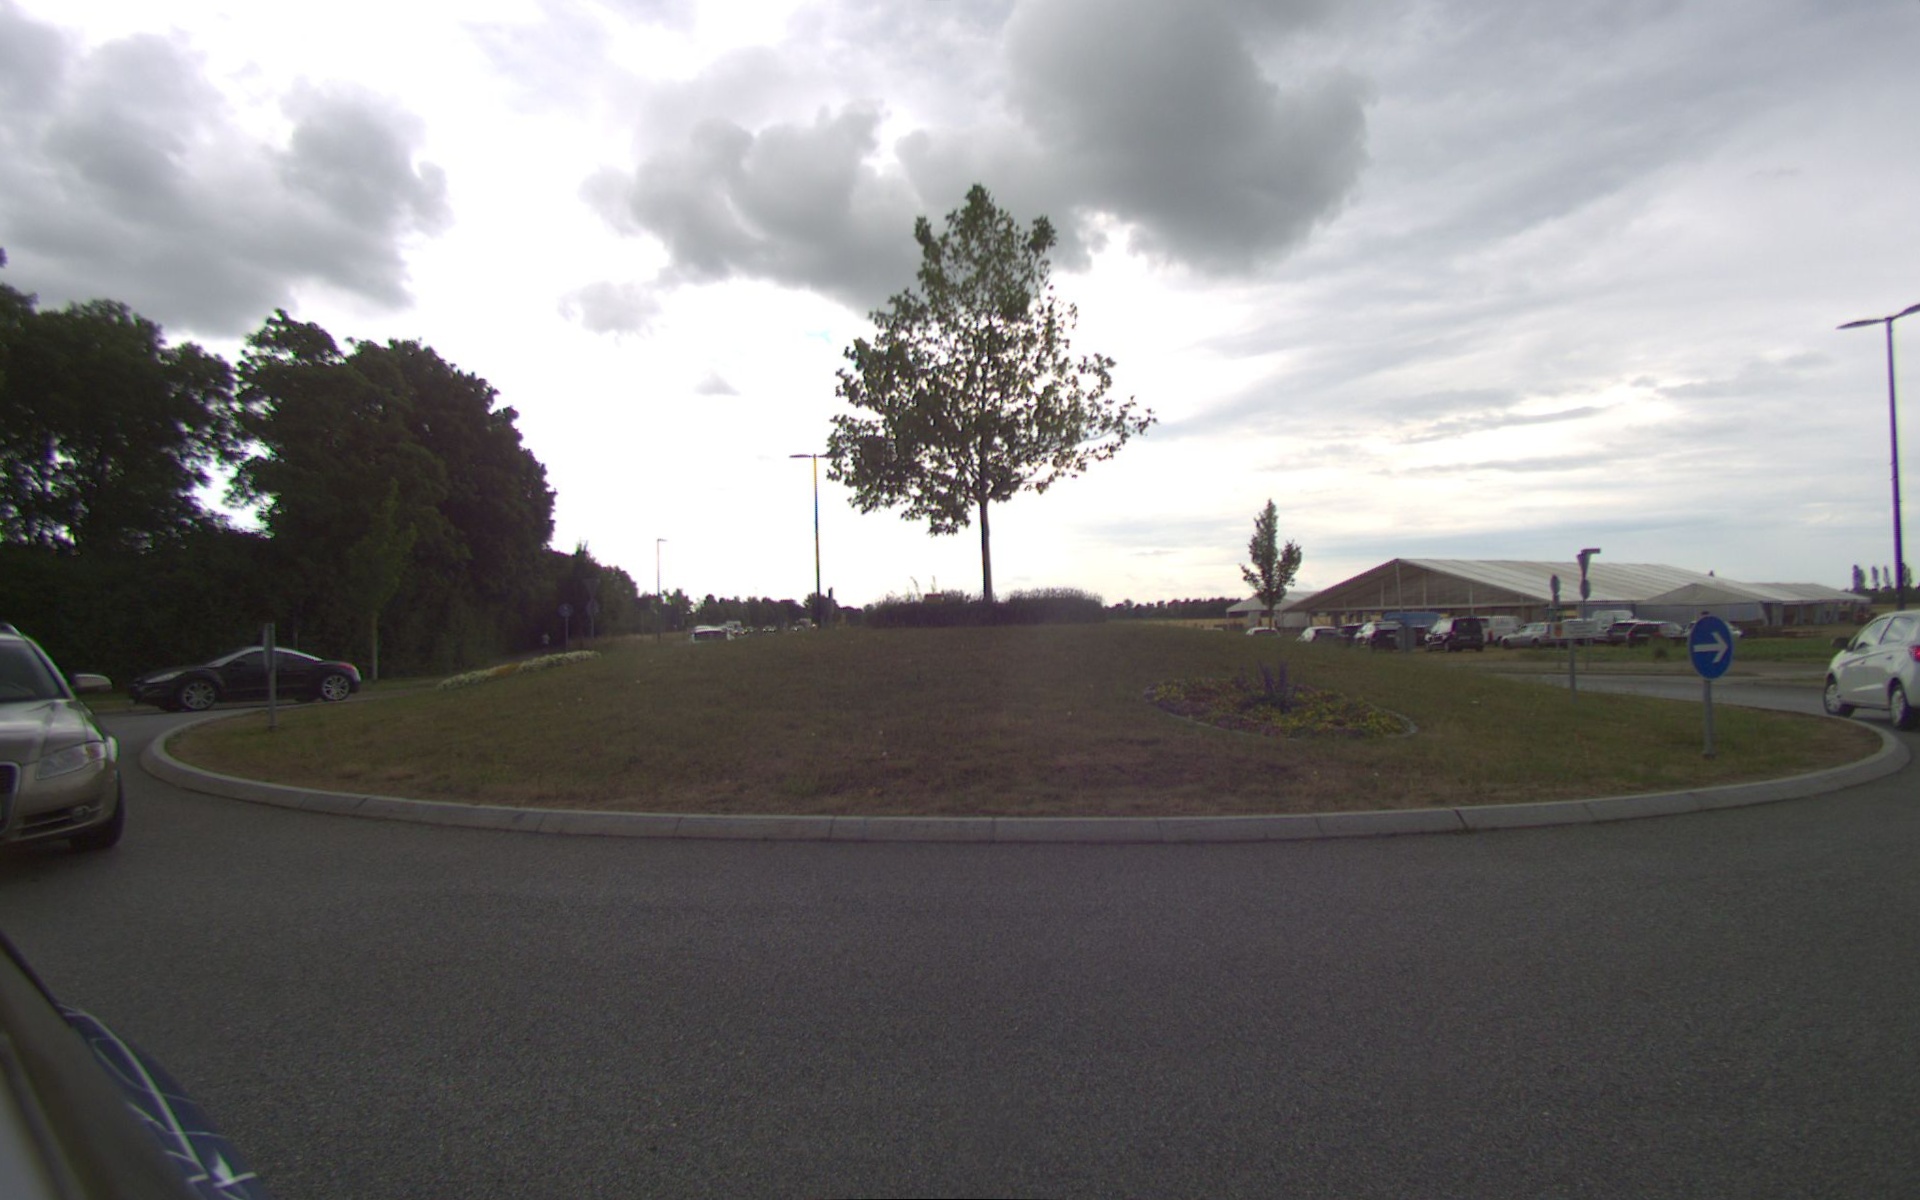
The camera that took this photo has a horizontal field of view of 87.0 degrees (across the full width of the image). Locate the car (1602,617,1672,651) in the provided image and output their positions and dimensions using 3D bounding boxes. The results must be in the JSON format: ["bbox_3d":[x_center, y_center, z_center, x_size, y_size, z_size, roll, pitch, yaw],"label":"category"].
[{"bbox_3d":[34.400,1.710,51.515,1.620,1.619,3.860,-2,-2,13],"label":"car"}]

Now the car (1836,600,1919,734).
[{"bbox_3d":[12.475,0.767,12.654,1.626,1.530,3.366,-1,0,29],"label":"car"}]

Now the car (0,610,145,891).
[{"bbox_3d":[-7.005,0.884,6.665,4.538,1.476,1.759,-2,-1,41],"label":"car"}]

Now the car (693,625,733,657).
[{"bbox_3d":[-12.530,2.048,51.496,1.753,1.510,3.819,-2,-1,-11],"label":"car"}]

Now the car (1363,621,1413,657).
[{"bbox_3d":[21.669,1.953,51.342,1.701,1.565,3.980,-4,0,16],"label":"car"}]

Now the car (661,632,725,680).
[{"bbox_3d":[-9.436,1.935,36.042,1.811,1.469,4.144,-1,-1,-9],"label":"car"}]

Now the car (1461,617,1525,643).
[{"bbox_3d":[32.630,1.821,61.951,3.935,1.453,1.956,-1,-2,-37],"label":"car"}]

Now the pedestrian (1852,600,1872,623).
[{"bbox_3d":[80.825,1.002,90.687,1.043,2.029,1.054,-1,-2,-32],"label":"pedestrian"}]

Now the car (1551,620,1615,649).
[{"bbox_3d":[36.493,2.012,59.257,3.766,1.619,1.839,0,-2,-36],"label":"car"}]

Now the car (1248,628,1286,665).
[{"bbox_3d":[15.778,2.366,52.157,1.701,1.565,3.980,-4,0,16],"label":"car"}]

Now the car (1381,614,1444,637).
[{"bbox_3d":[31.033,1.755,69.445,3.931,1.453,1.958,-1,-1,-29],"label":"car"}]

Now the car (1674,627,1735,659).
[{"bbox_3d":[40.066,2.283,54.447,3.937,1.565,1.734,0,-2,-41],"label":"car"}]

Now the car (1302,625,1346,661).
[{"bbox_3d":[18.515,2.173,51.656,1.701,1.565,3.980,-4,0,16],"label":"car"}]

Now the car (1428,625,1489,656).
[{"bbox_3d":[24.894,2.009,50.667,1.934,1.453,3.980,-2,-1,15],"label":"car"}]

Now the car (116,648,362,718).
[{"bbox_3d":[-15.704,1.772,22.244,1.827,1.317,4.064,-4,-3,36],"label":"car"}]

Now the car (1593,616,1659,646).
[{"bbox_3d":[37.626,1.749,57.162,3.766,1.619,1.839,0,-2,-36],"label":"car"}]

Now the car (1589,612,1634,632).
[{"bbox_3d":[54.960,1.847,85.352,3.766,1.619,1.839,-1,-2,-36],"label":"car"}]

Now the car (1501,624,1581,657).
[{"bbox_3d":[30.244,2.102,52.796,1.709,1.619,3.879,-1,-2,-3],"label":"car"}]
